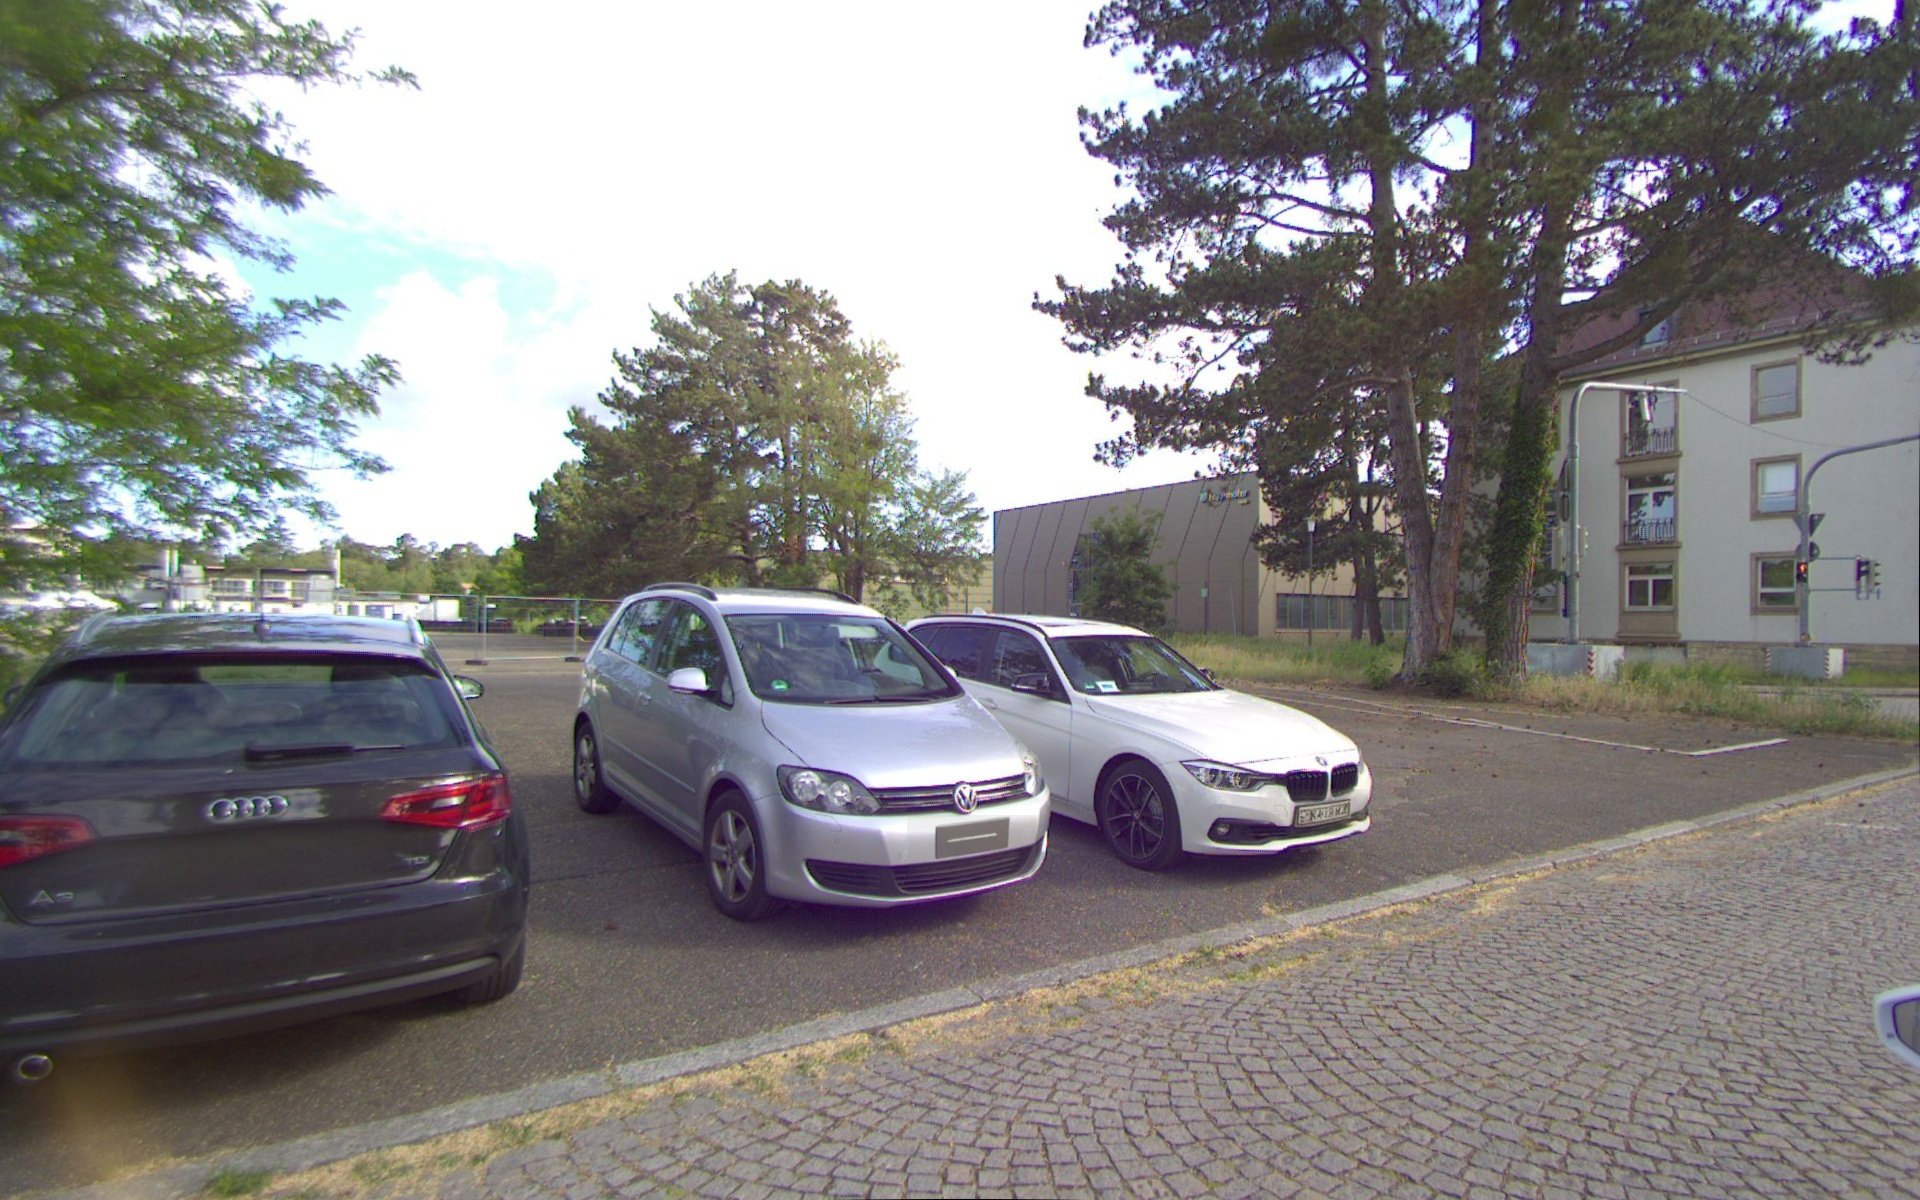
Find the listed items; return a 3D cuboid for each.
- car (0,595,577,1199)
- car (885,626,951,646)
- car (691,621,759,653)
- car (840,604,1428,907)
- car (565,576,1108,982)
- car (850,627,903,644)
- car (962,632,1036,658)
[{"bbox_3d":[-3.002,0.768,4.453,1.677,1.427,3.813,1,1,-33],"label":"car"},{"bbox_3d":[-2.775,2.408,66.680,4.147,1.289,1.598,1,-1,-30],"label":"car"},{"bbox_3d":[-10.425,1.603,44.386,1.577,1.355,3.703,1,-2,-37],"label":"car"},{"bbox_3d":[0.961,0.860,7.713,1.812,1.461,4.447,1,1,-35],"label":"car"},{"bbox_3d":[-1.051,0.715,6.177,1.718,1.629,3.806,1,1,-35],"label":"car"},{"bbox_3d":[-6.061,2.614,73.270,3.623,1.217,1.319,1,-1,-30],"label":"car"},{"bbox_3d":[2.303,2.621,58.913,4.082,1.433,1.750,1,-1,-30],"label":"car"}]
